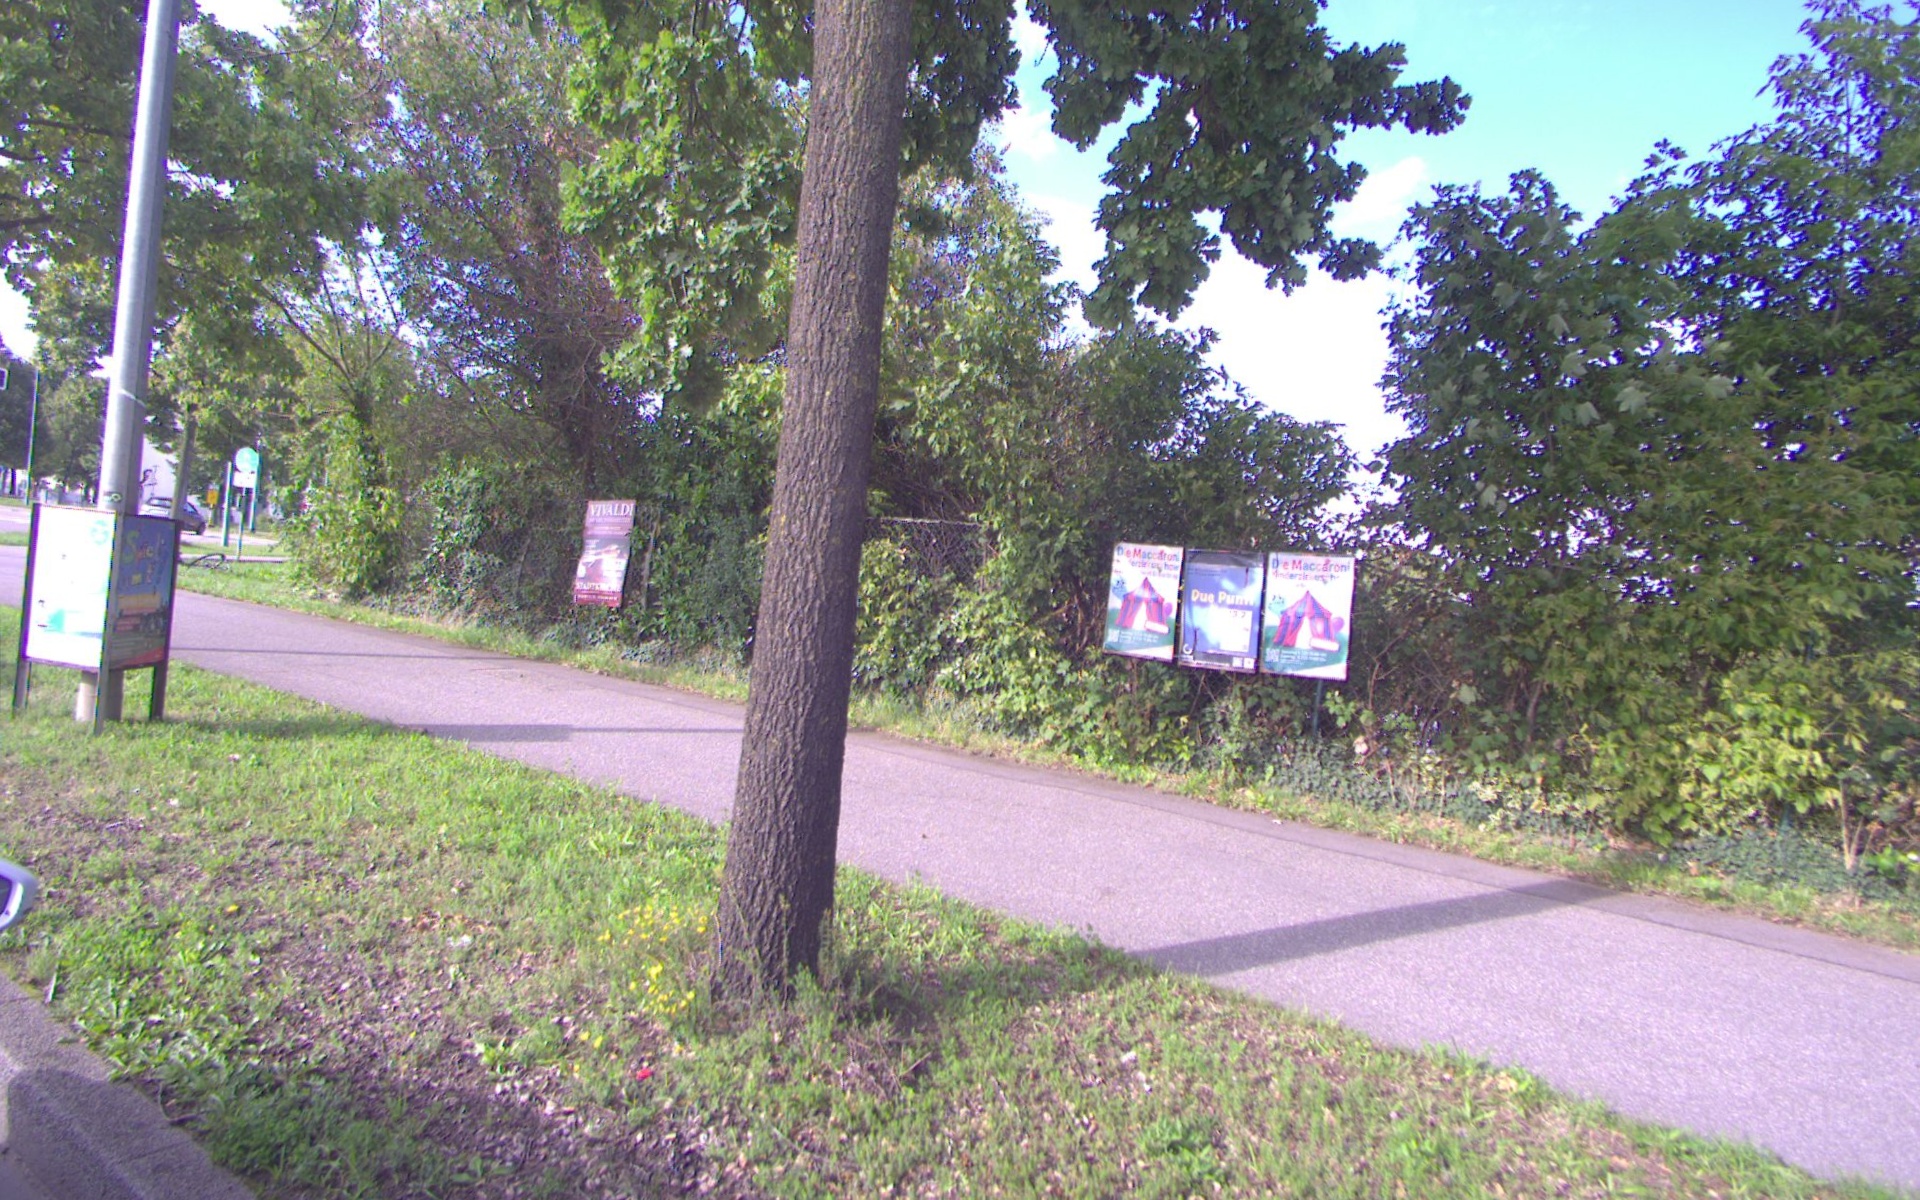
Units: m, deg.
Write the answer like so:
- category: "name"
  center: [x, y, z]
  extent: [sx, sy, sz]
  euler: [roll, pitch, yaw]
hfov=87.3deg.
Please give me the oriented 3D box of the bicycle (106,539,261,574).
- category: "bicycle"
  center: [-16.052, -0.892, 20.822]
  extent: [2.529, 0.390, 1.411]
  euler: [7, 0, 21]

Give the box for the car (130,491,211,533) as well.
- category: "car"
  center: [-36.737, -4.078, 46.899]
  extent: [1.549, 1.594, 3.189]
  euler: [7, 1, -12]
